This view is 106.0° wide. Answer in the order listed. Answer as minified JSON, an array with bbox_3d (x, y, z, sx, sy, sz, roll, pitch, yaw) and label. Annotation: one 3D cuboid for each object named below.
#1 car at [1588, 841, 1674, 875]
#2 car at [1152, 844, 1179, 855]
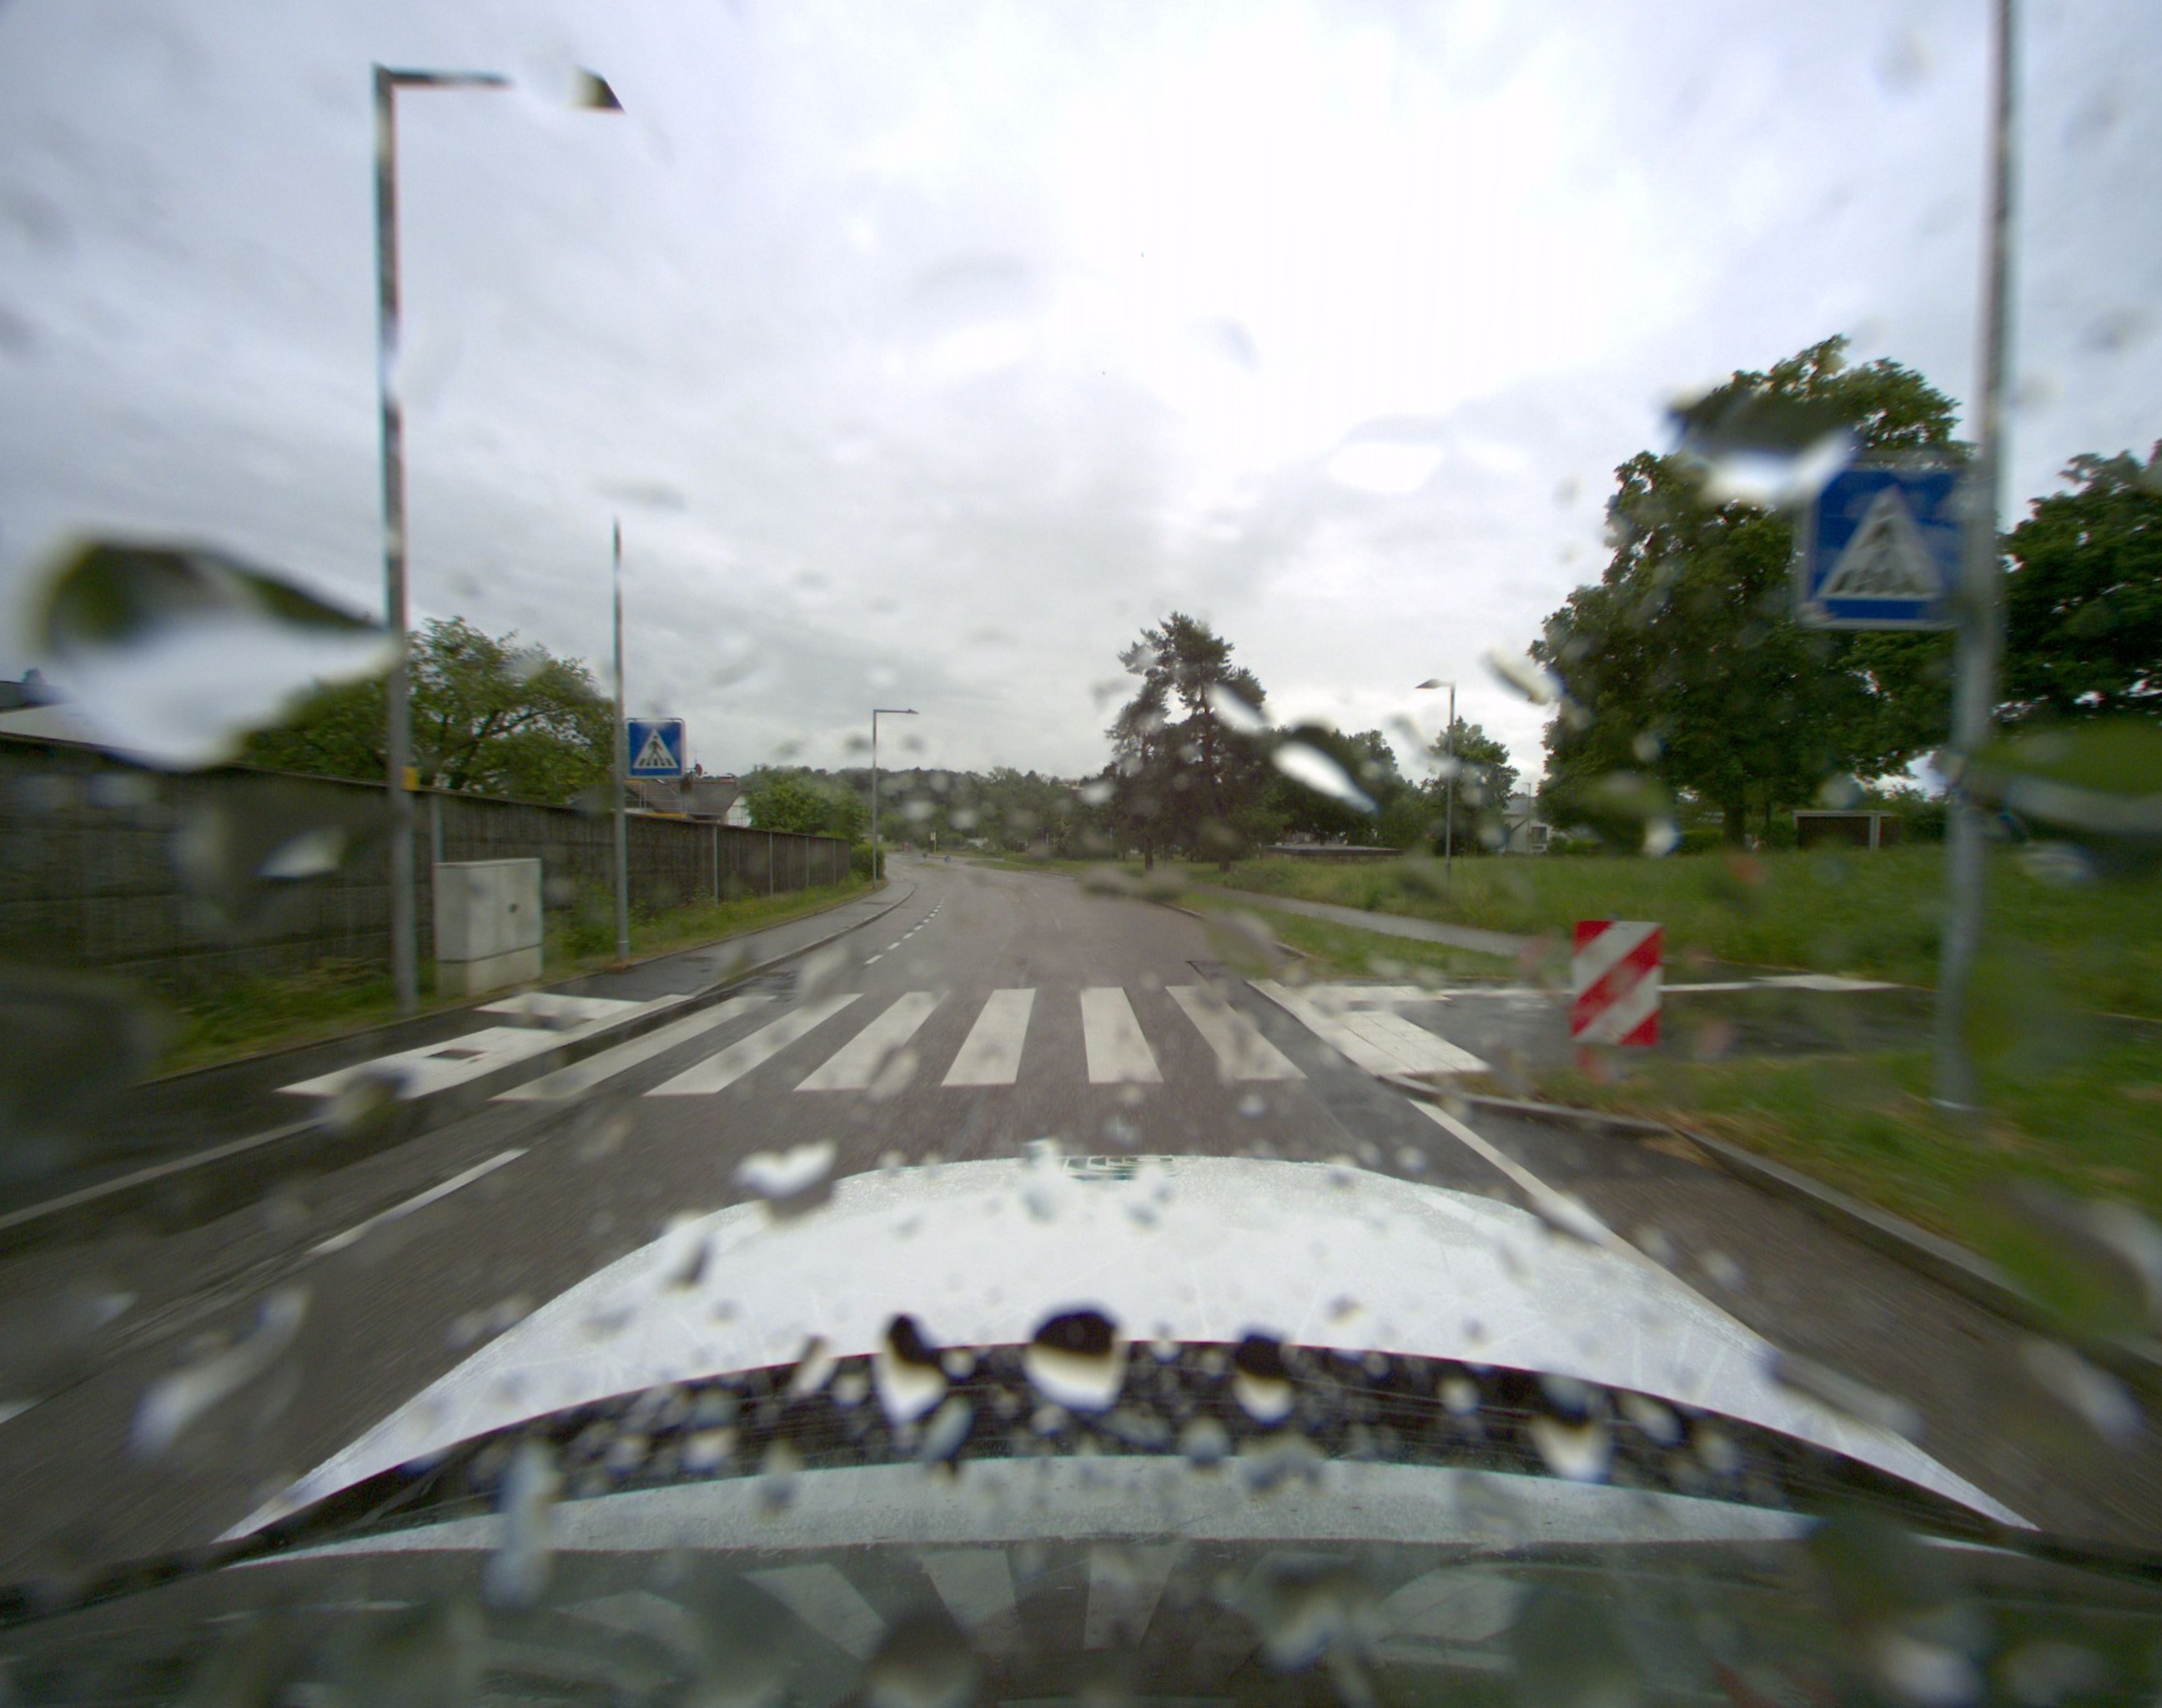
[{"bbox_3d":[28.508,0.209,42.349,1.820,1.652,4.000,-1,0,1],"label":"car"},{"bbox_3d":[15.049,-0.755,145.331,4.499,1.750,1.925,-3,0,38],"label":"car"}]
